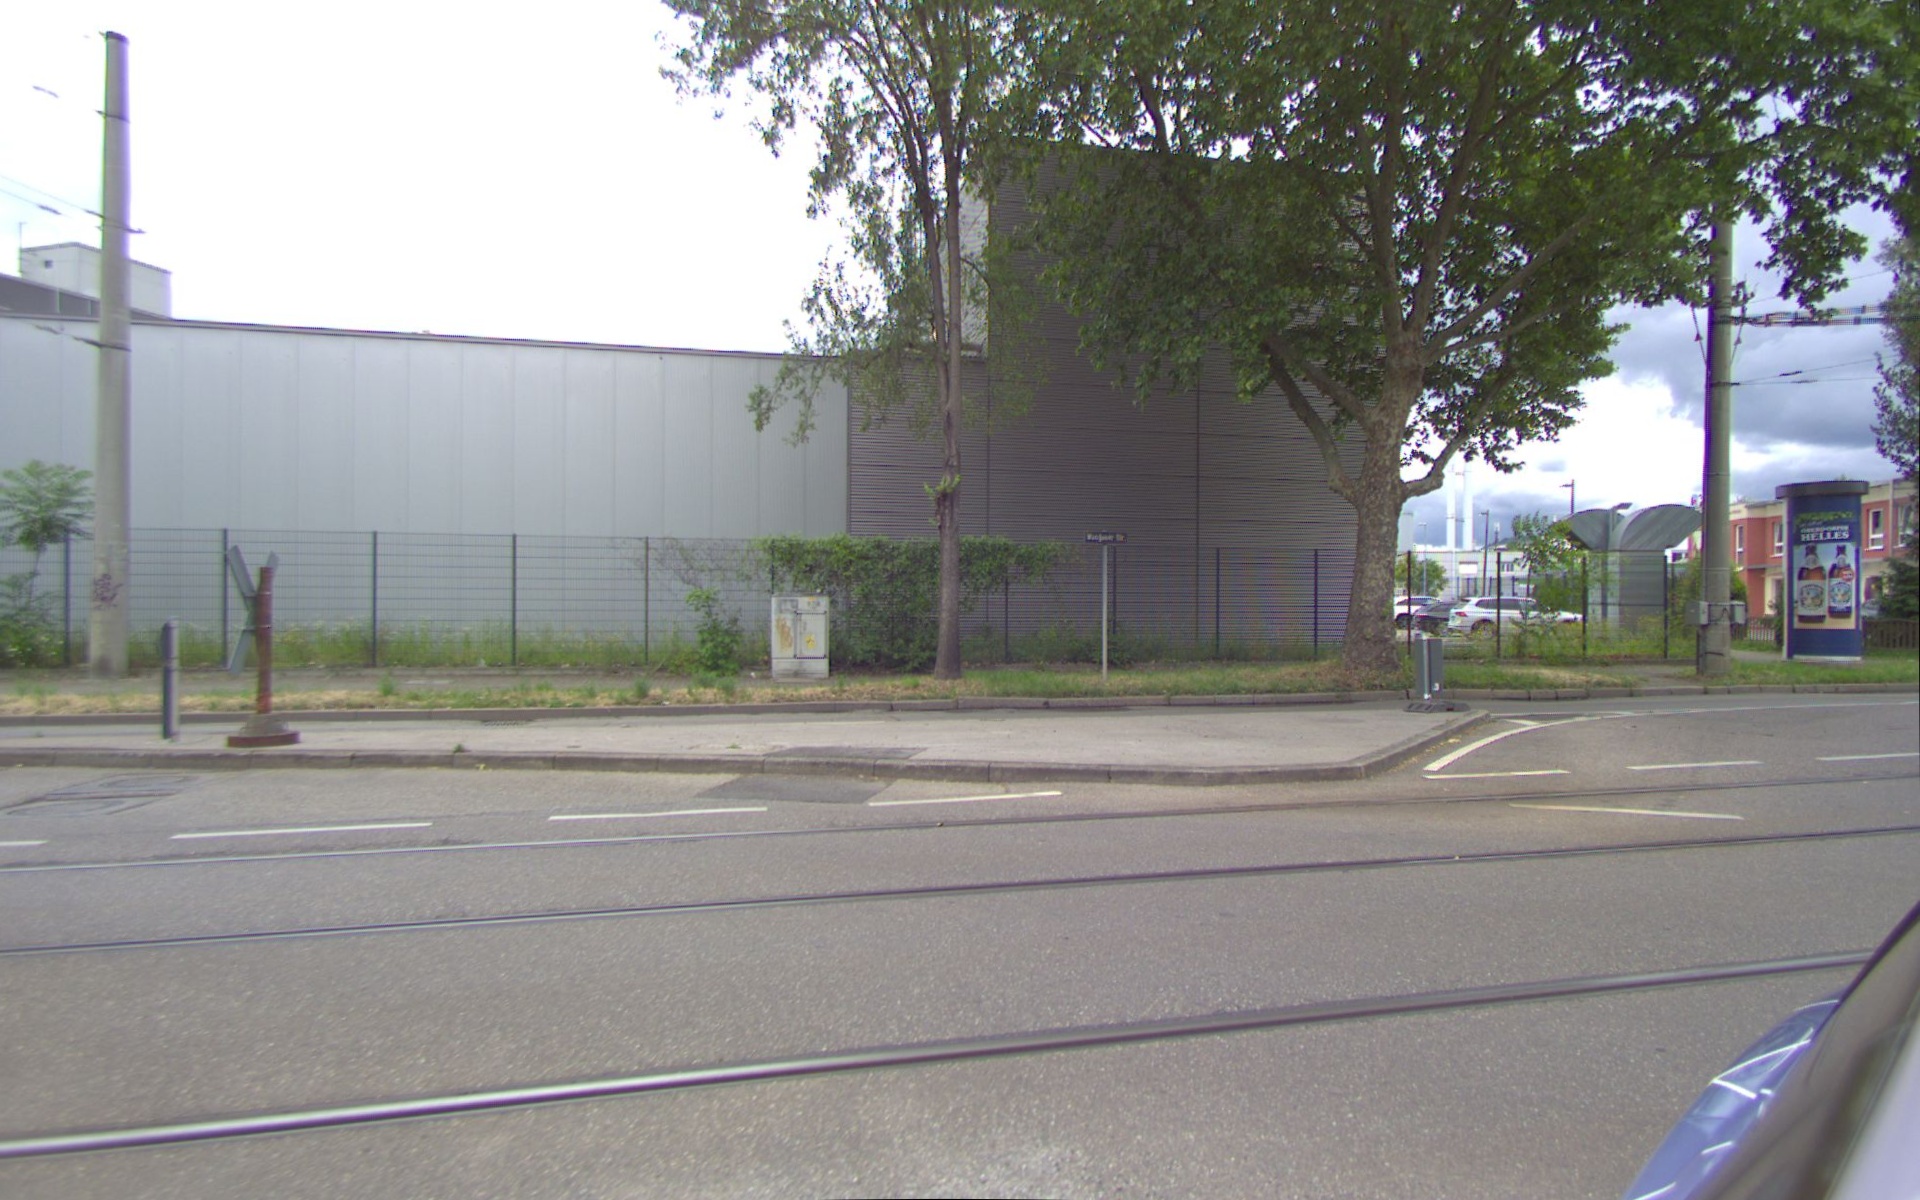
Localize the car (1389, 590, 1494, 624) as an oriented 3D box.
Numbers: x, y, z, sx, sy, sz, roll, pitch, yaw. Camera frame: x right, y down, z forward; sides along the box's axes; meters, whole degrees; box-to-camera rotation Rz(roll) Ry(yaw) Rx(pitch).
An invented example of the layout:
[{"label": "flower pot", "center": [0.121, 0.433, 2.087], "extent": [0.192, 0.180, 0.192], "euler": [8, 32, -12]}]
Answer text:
[{"label": "car", "center": [24.161, 0.334, 50.957], "extent": [4.435, 1.686, 1.991], "euler": [0, 0, 15]}]

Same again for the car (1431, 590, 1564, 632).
[{"label": "car", "center": [21.918, 0.419, 41.429], "extent": [4.435, 1.686, 1.991], "euler": [0, 0, 15]}]

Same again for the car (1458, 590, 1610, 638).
[{"label": "car", "center": [20.935, 0.476, 37.111], "extent": [4.435, 1.686, 1.991], "euler": [0, 0, 15]}]

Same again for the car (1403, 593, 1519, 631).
[{"label": "car", "center": [23.063, 0.544, 46.777], "extent": [4.435, 1.686, 1.991], "euler": [0, 0, 15]}]

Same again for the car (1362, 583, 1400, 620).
[{"label": "car", "center": [37.249, 0.178, 89.645], "extent": [1.943, 3.001, 5.567], "euler": [-1, -2, 12]}]
